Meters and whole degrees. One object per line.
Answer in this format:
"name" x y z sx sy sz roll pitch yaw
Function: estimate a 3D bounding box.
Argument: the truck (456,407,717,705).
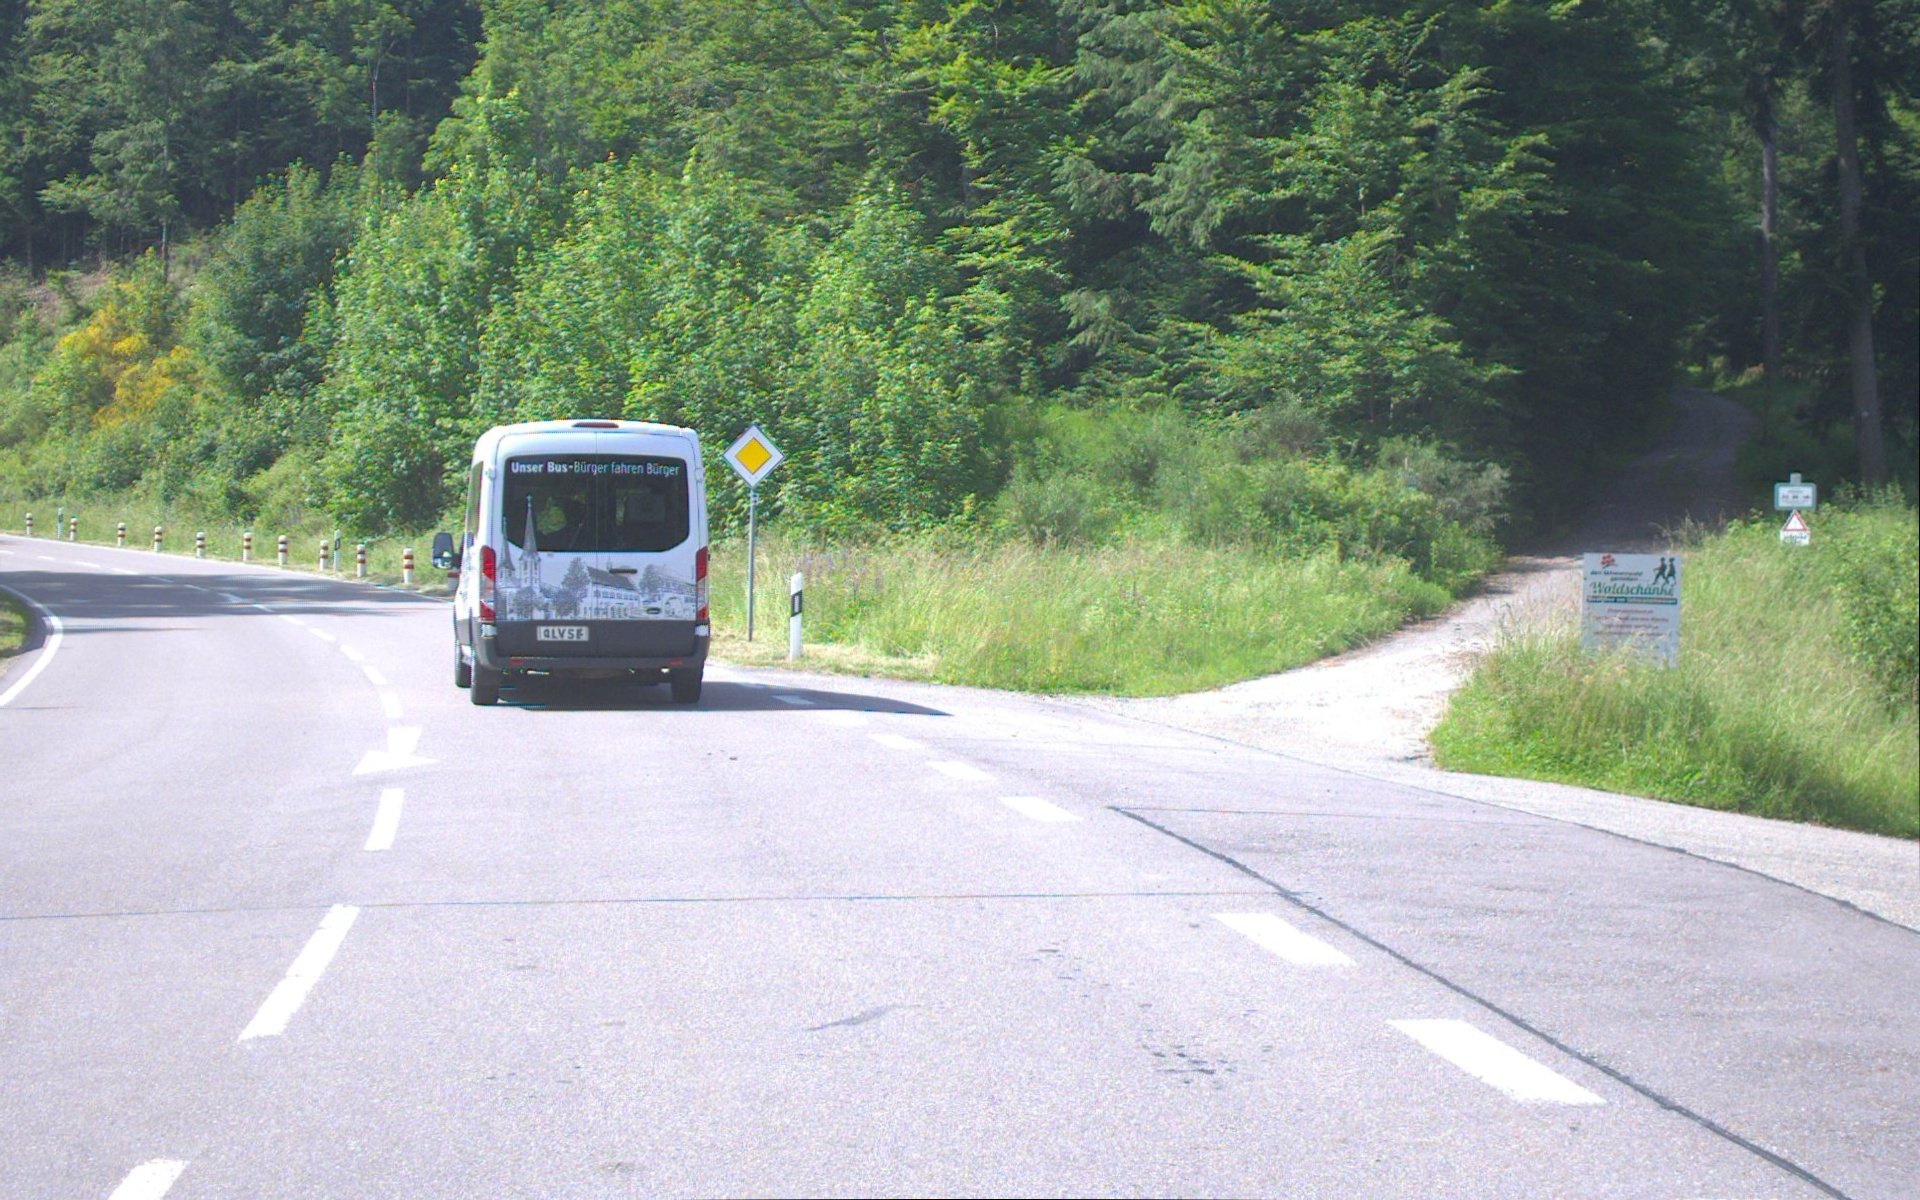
"truck" -3.523 -0.424 31.562 2.115 2.489 5.361 0 1 -9
